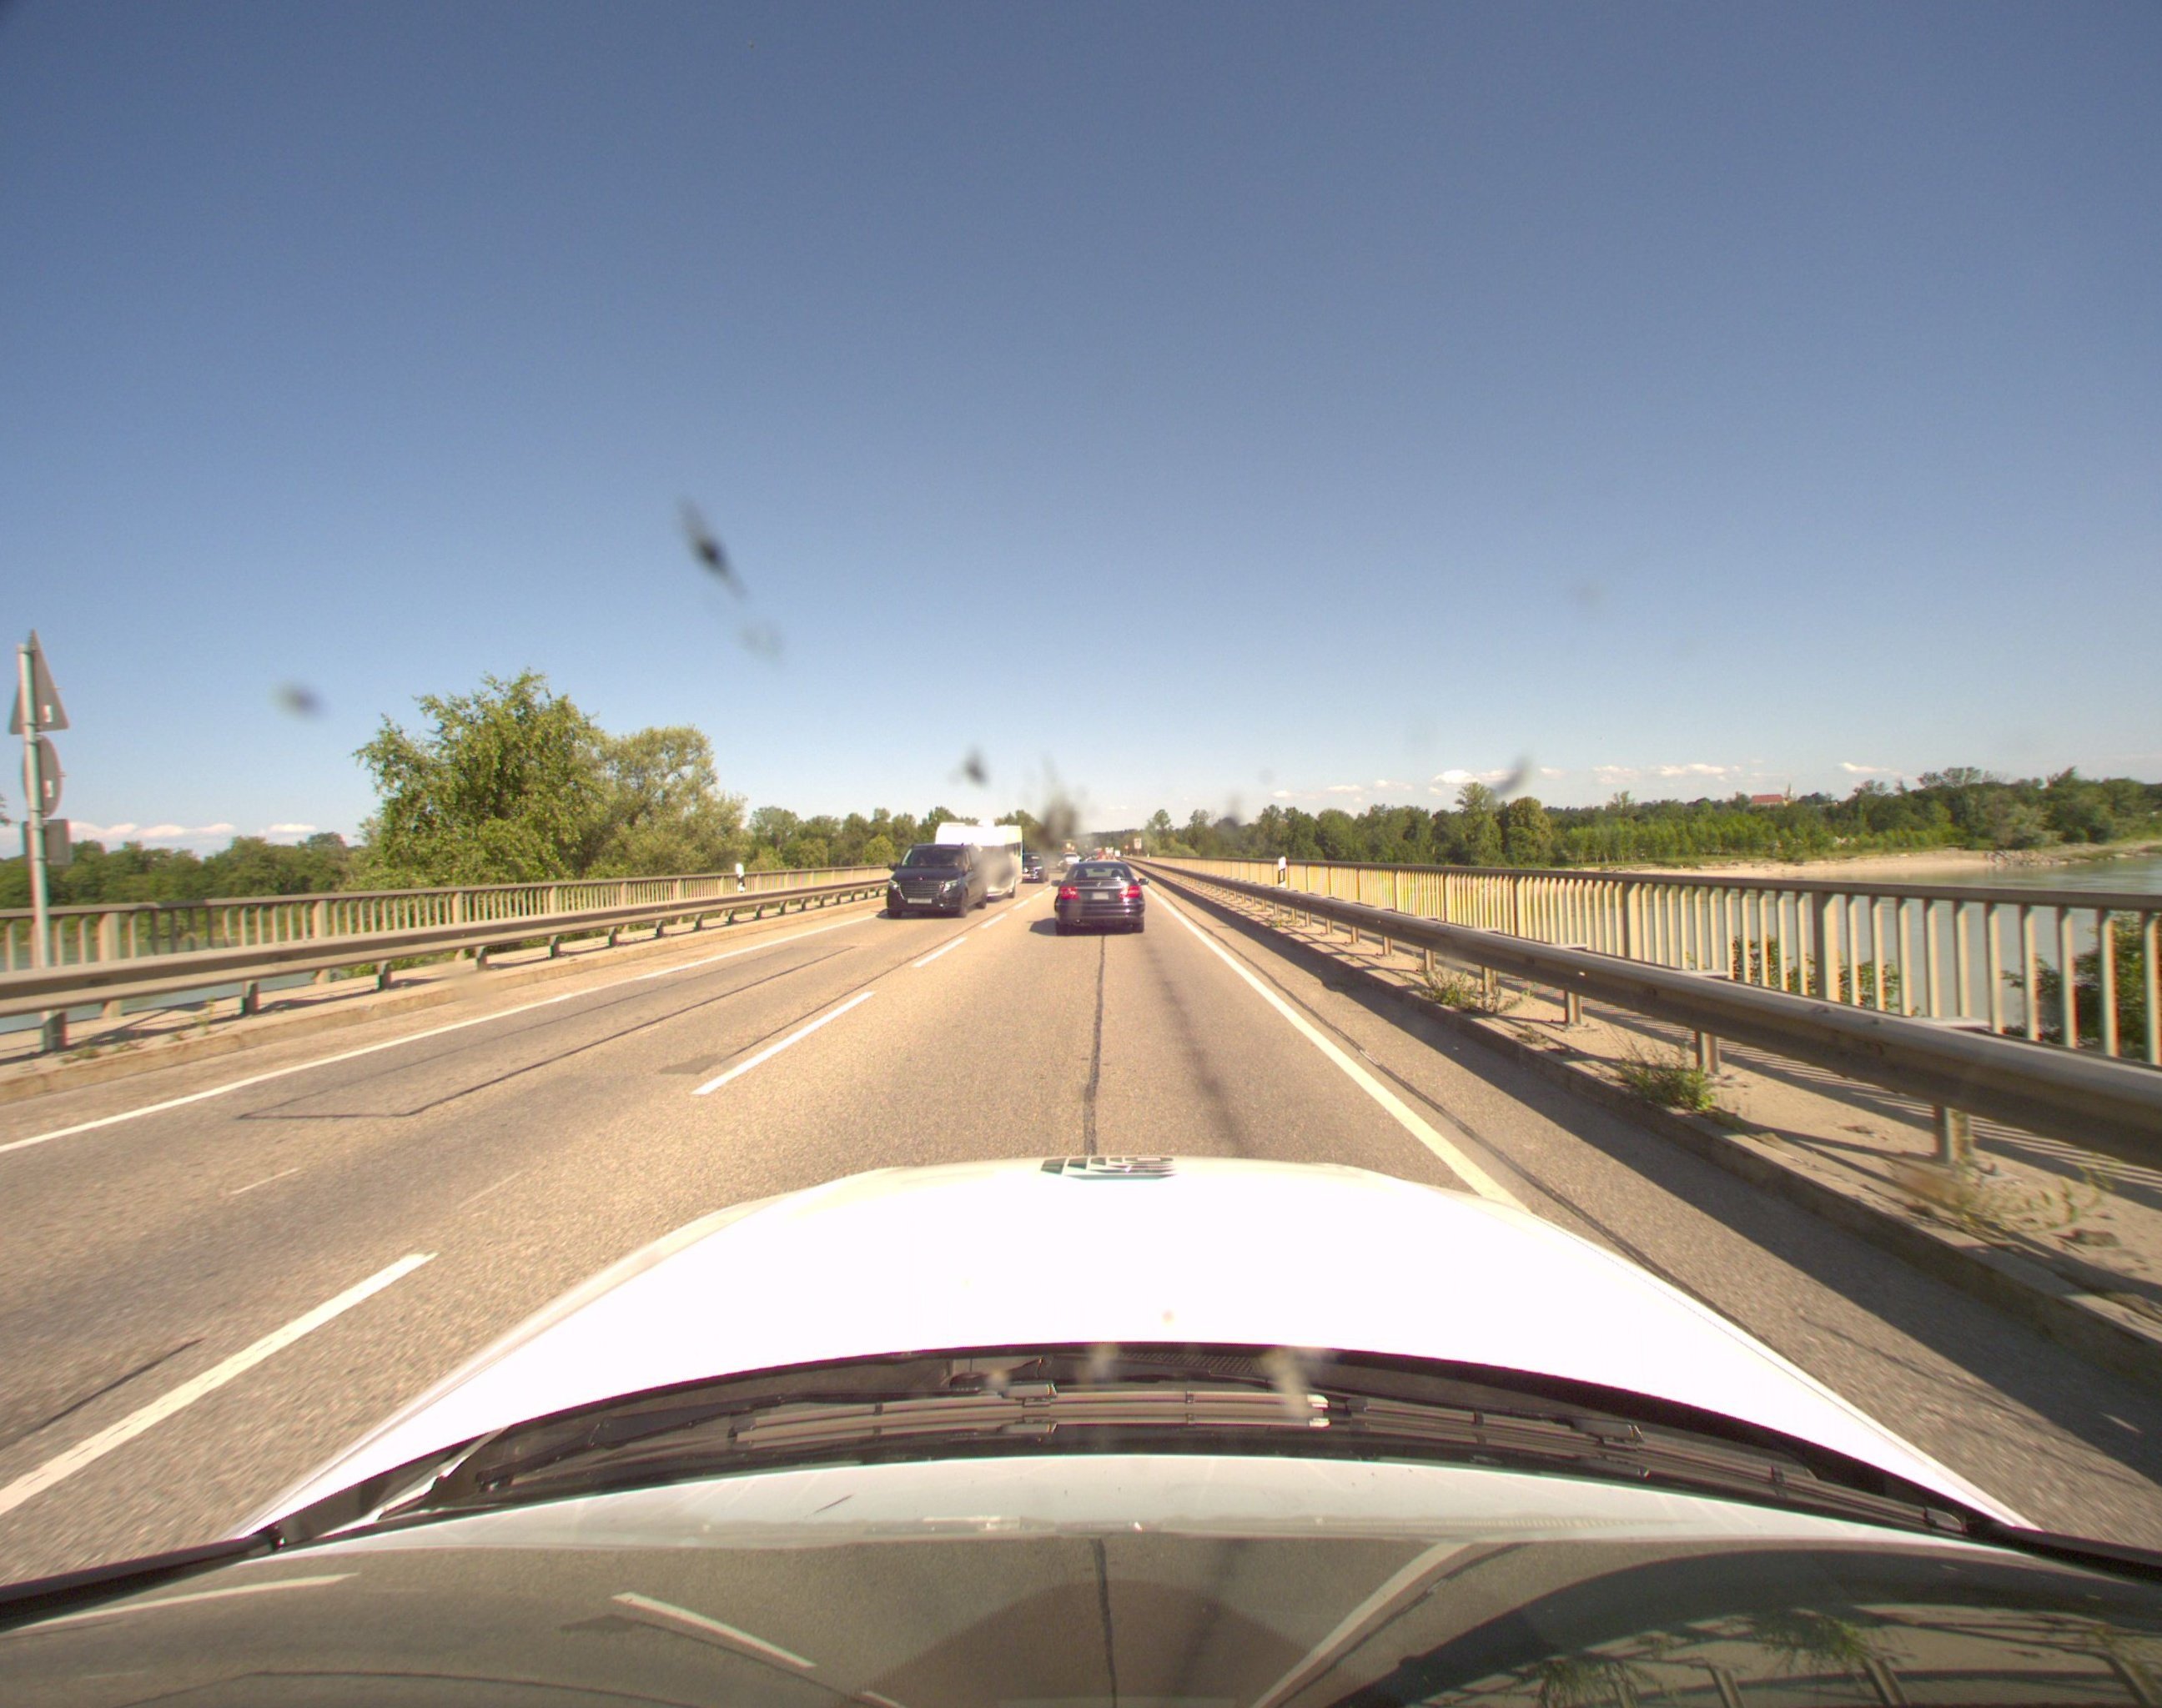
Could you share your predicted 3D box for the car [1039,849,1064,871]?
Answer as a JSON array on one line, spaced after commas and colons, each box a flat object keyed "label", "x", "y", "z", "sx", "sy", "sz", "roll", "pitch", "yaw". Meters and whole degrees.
[{"label": "car", "x": -2.364, "y": 0.489, "z": 66.447, "sx": 1.943, "sy": 1.693, "sz": 4.474, "roll": 0, "pitch": 0, "yaw": -1}]

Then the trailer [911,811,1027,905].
[{"label": "trailer", "x": -3.594, "y": 0.098, "z": 28.151, "sx": 2.545, "sy": 2.737, "sz": 8.067, "roll": -1, "pitch": 0, "yaw": 2}]

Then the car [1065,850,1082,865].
[{"label": "car", "x": -0.873, "y": 0.390, "z": 94.320, "sx": 1.977, "sy": 1.651, "sz": 4.596, "roll": 0, "pitch": 0, "yaw": -1}]

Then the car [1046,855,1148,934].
[{"label": "car", "x": 0.364, "y": 0.732, "z": 16.659, "sx": 1.786, "sy": 1.376, "sz": 4.002, "roll": -1, "pitch": 0, "yaw": 2}]

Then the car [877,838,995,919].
[{"label": "car", "x": -3.689, "y": 0.574, "z": 21.704, "sx": 1.975, "sy": 1.854, "sz": 5.011, "roll": -2, "pitch": 0, "yaw": 3}]

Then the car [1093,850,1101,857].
[{"label": "car", "x": 3.884, "y": -0.175, "z": 197.399, "sx": 1.801, "sy": 1.577, "sz": 4.198, "roll": -1, "pitch": 0, "yaw": -2}]

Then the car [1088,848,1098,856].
[{"label": "car", "x": 2.781, "y": -0.479, "z": 182.845, "sx": 2.048, "sy": 1.652, "sz": 4.718, "roll": 0, "pitch": 0, "yaw": -2}]

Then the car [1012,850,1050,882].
[{"label": "car", "x": -2.679, "y": 0.620, "z": 44.528, "sx": 1.797, "sy": 1.661, "sz": 4.433, "roll": 0, "pitch": 0, "yaw": 0}]

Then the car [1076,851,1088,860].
[{"label": "car", "x": 0.126, "y": 0.243, "z": 128.409, "sx": 1.760, "sy": 1.447, "sz": 4.454, "roll": 1, "pitch": 0, "yaw": -1}]
